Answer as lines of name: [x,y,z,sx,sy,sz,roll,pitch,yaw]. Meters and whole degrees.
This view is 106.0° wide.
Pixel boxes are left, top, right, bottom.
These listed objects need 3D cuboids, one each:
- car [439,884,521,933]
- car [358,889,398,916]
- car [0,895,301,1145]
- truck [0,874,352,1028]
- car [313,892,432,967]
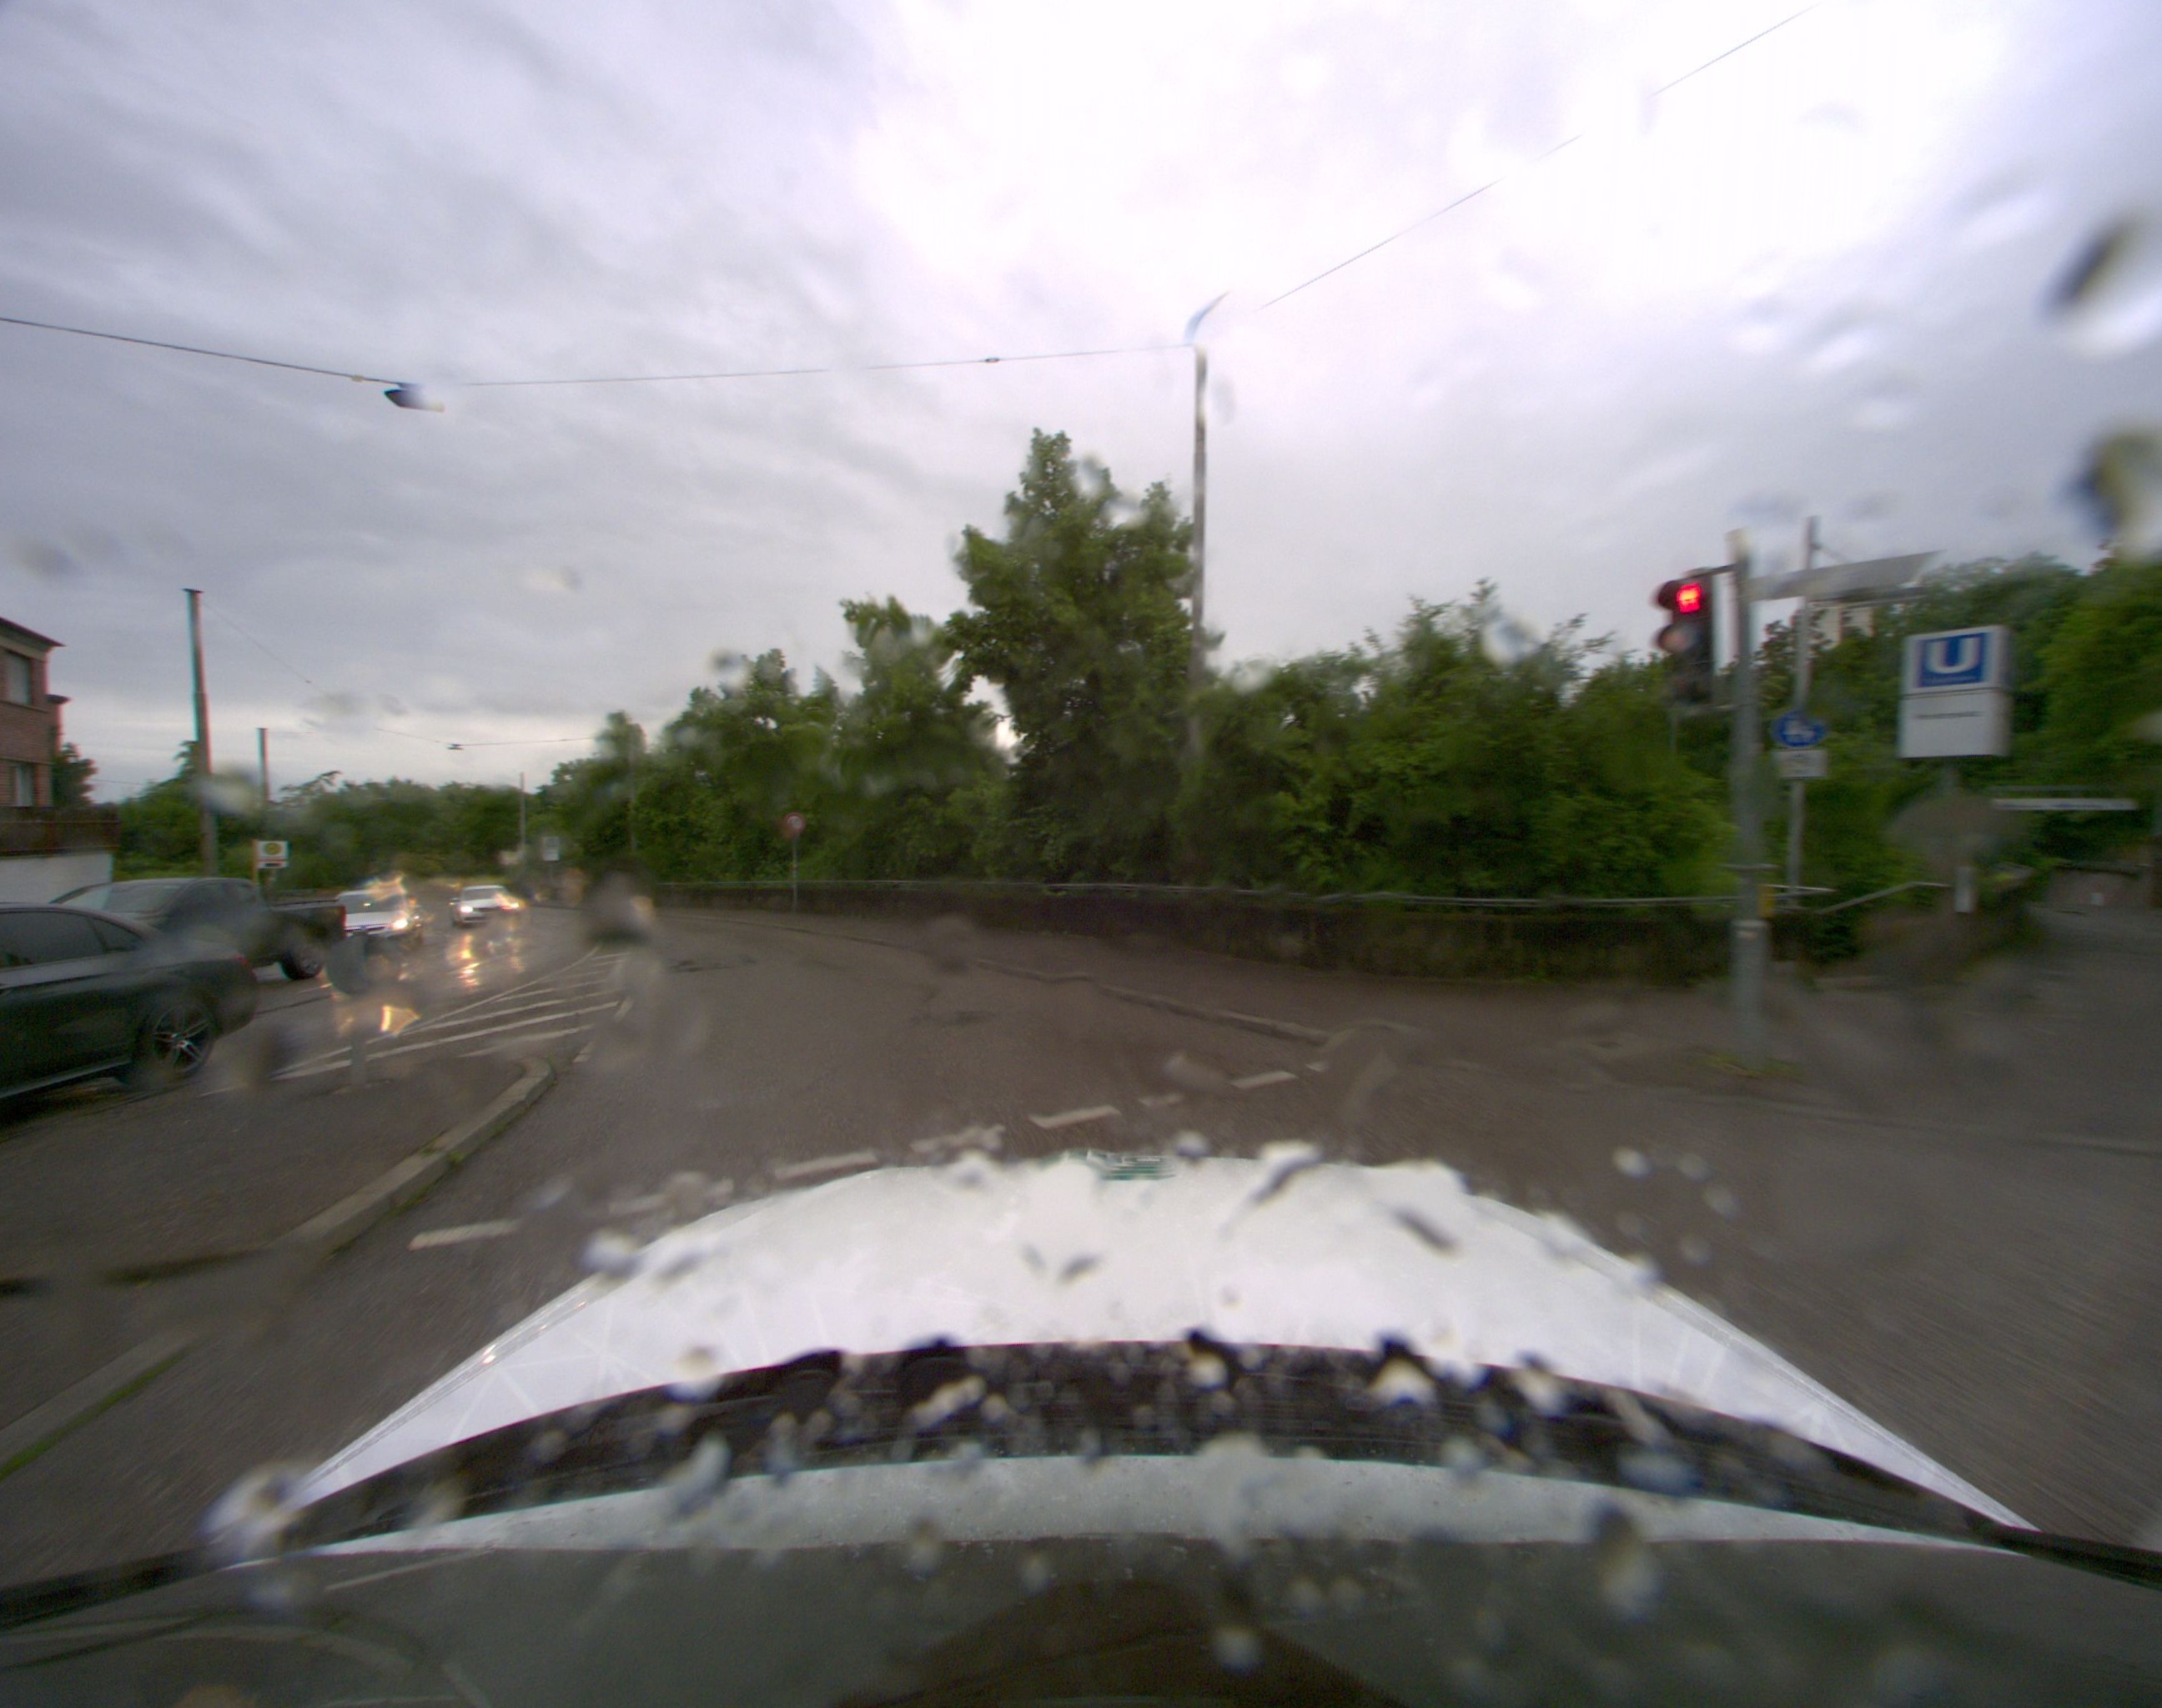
car: [-22.286,1.998,30.132,1.864,1.474,4.386,-7,2,-43]
car: [-44.452,3.043,51.449,1.753,1.450,4.559,-6,2,-42]
car: [-7.504,1.122,4.922,1.861,1.395,4.575,-4,1,-13]
truck: [-14.193,1.317,12.655,1.885,1.848,5.254,-4,-1,-14]
car: [-18.002,1.828,20.888,1.723,1.585,4.412,-3,-1,-34]
